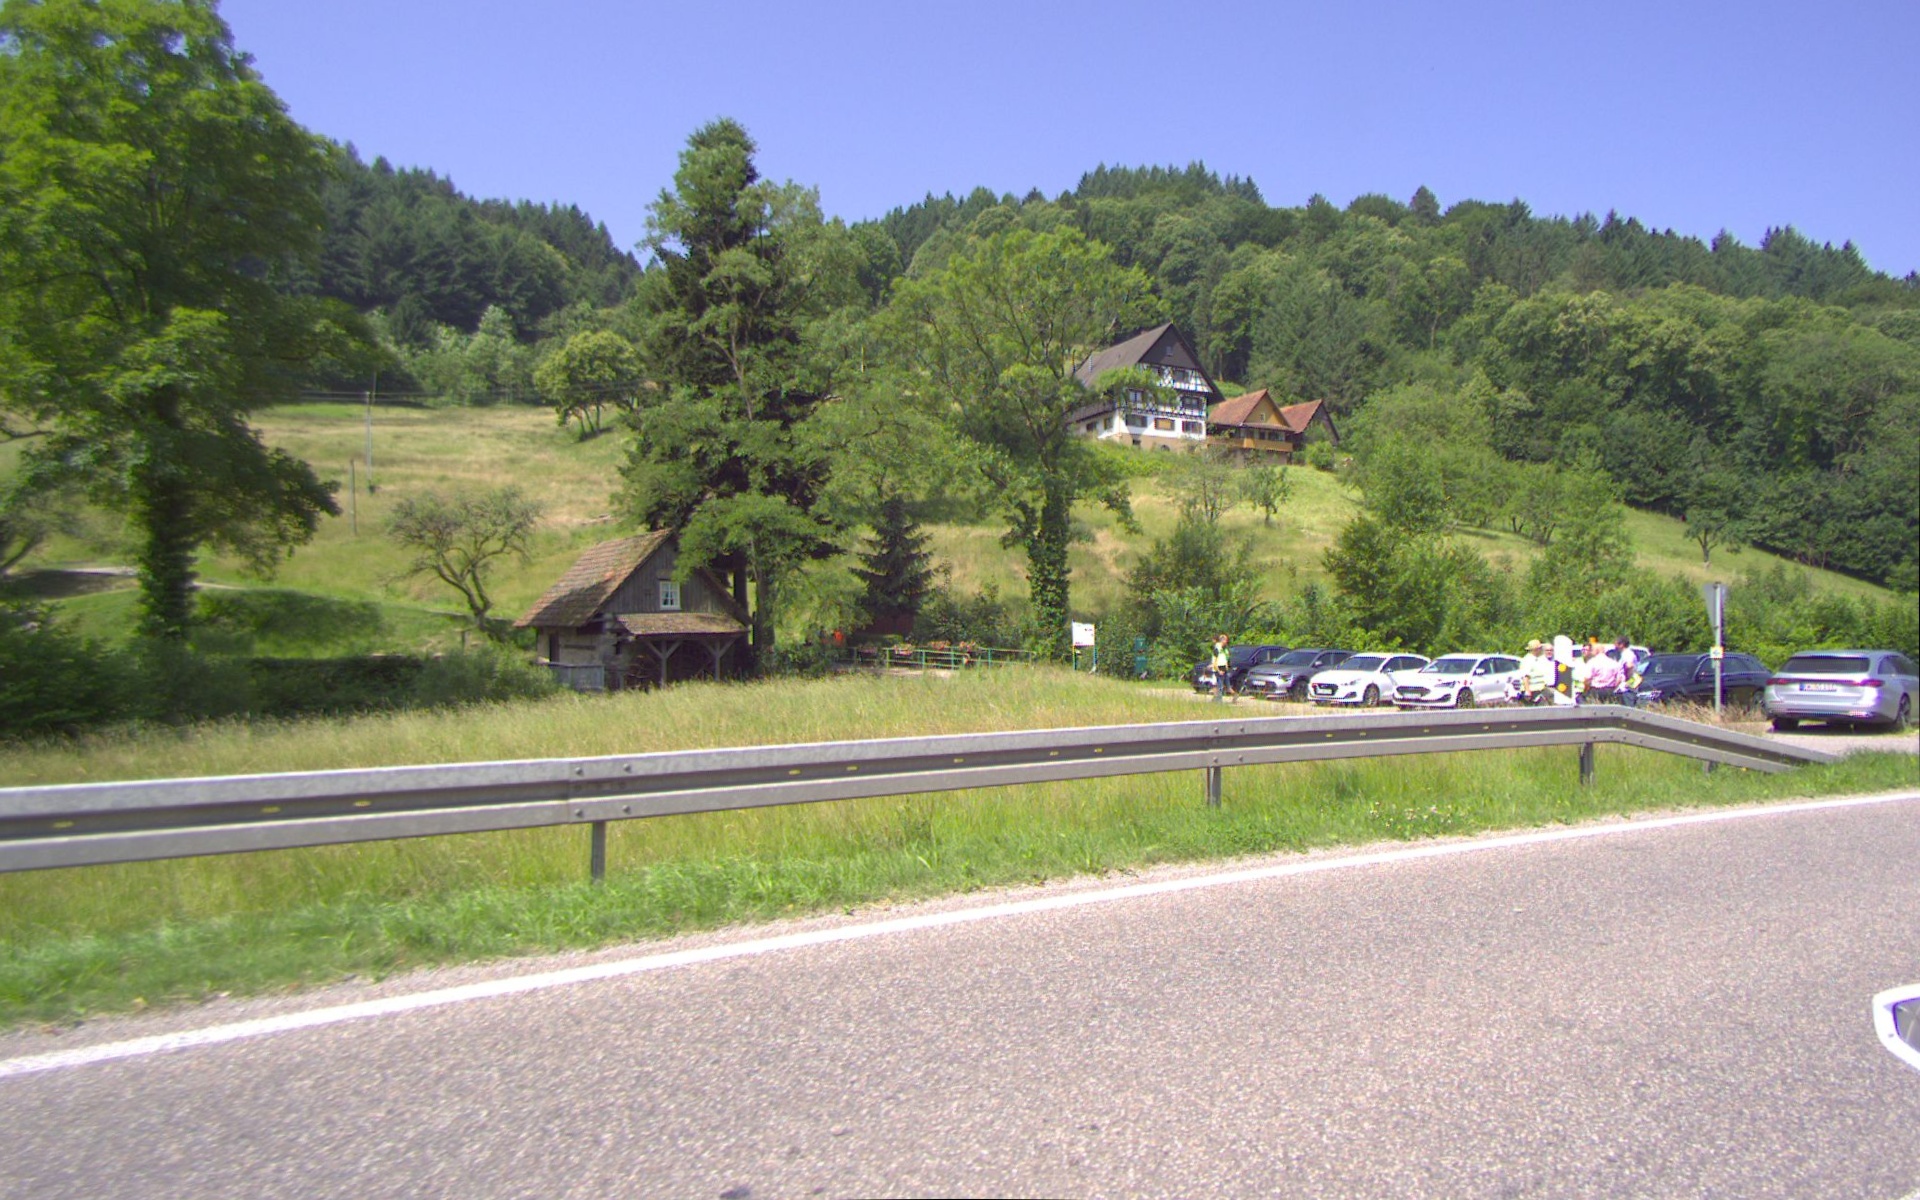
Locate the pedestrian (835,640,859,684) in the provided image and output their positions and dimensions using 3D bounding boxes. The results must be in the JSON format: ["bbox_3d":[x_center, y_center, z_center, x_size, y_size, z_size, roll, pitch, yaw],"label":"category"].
[{"bbox_3d":[-5.317,2.914,47.291,0.923,2.039,0.694,3,-4,-34],"label":"pedestrian"}]

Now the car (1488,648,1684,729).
[{"bbox_3d":[15.191,2.098,24.336,4.710,1.805,1.865,2,-3,-27],"label":"car"}]

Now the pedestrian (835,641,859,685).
[{"bbox_3d":[-5.216,2.908,46.278,0.913,2.039,0.702,-1,-4,13],"label":"pedestrian"}]

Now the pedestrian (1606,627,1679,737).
[{"bbox_3d":[11.898,1.430,17.536,0.755,1.882,0.650,0,-4,4],"label":"pedestrian"}]

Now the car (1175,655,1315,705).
[{"bbox_3d":[9.397,2.618,33.060,4.472,1.520,1.983,2,-5,-32],"label":"car"}]

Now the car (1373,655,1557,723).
[{"bbox_3d":[13.350,2.312,26.512,4.844,1.662,1.985,2,-5,-30],"label":"car"}]

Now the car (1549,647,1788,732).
[{"bbox_3d":[15.234,1.917,21.623,4.553,1.673,1.991,2,-5,-21],"label":"car"}]

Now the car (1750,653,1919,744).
[{"bbox_3d":[16.840,1.792,18.792,4.228,1.520,1.817,2,-5,-31],"label":"car"}]

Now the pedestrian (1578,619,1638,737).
[{"bbox_3d":[11.210,1.345,17.383,0.528,1.980,0.655,2,-5,-39],"label":"pedestrian"}]

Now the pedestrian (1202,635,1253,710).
[{"bbox_3d":[7.351,1.979,27.593,1.112,1.995,0.859,-3,-4,37],"label":"pedestrian"}]

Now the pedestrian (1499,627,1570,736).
[{"bbox_3d":[10.202,1.440,17.867,0.687,1.866,0.787,1,-4,-19],"label":"pedestrian"}]

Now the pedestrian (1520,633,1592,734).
[{"bbox_3d":[10.967,1.537,18.506,0.778,1.819,0.771,0,-4,-3],"label":"pedestrian"}]

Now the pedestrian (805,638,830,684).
[{"bbox_3d":[-6.497,2.785,45.756,0.921,2.039,0.696,2,-4,-29],"label":"pedestrian"}]

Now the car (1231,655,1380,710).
[{"bbox_3d":[10.663,2.505,30.922,4.472,1.520,1.983,2,-2,-32],"label":"car"}]

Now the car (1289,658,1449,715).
[{"bbox_3d":[11.673,2.432,28.607,4.472,1.520,1.983,2,-5,-32],"label":"car"}]

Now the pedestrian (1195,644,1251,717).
[{"bbox_3d":[6.771,2.066,25.910,0.990,1.817,0.948,2,-5,-35],"label":"pedestrian"}]

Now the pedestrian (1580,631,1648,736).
[{"bbox_3d":[11.886,1.517,18.281,0.755,1.864,0.649,0,-4,3],"label":"pedestrian"}]
